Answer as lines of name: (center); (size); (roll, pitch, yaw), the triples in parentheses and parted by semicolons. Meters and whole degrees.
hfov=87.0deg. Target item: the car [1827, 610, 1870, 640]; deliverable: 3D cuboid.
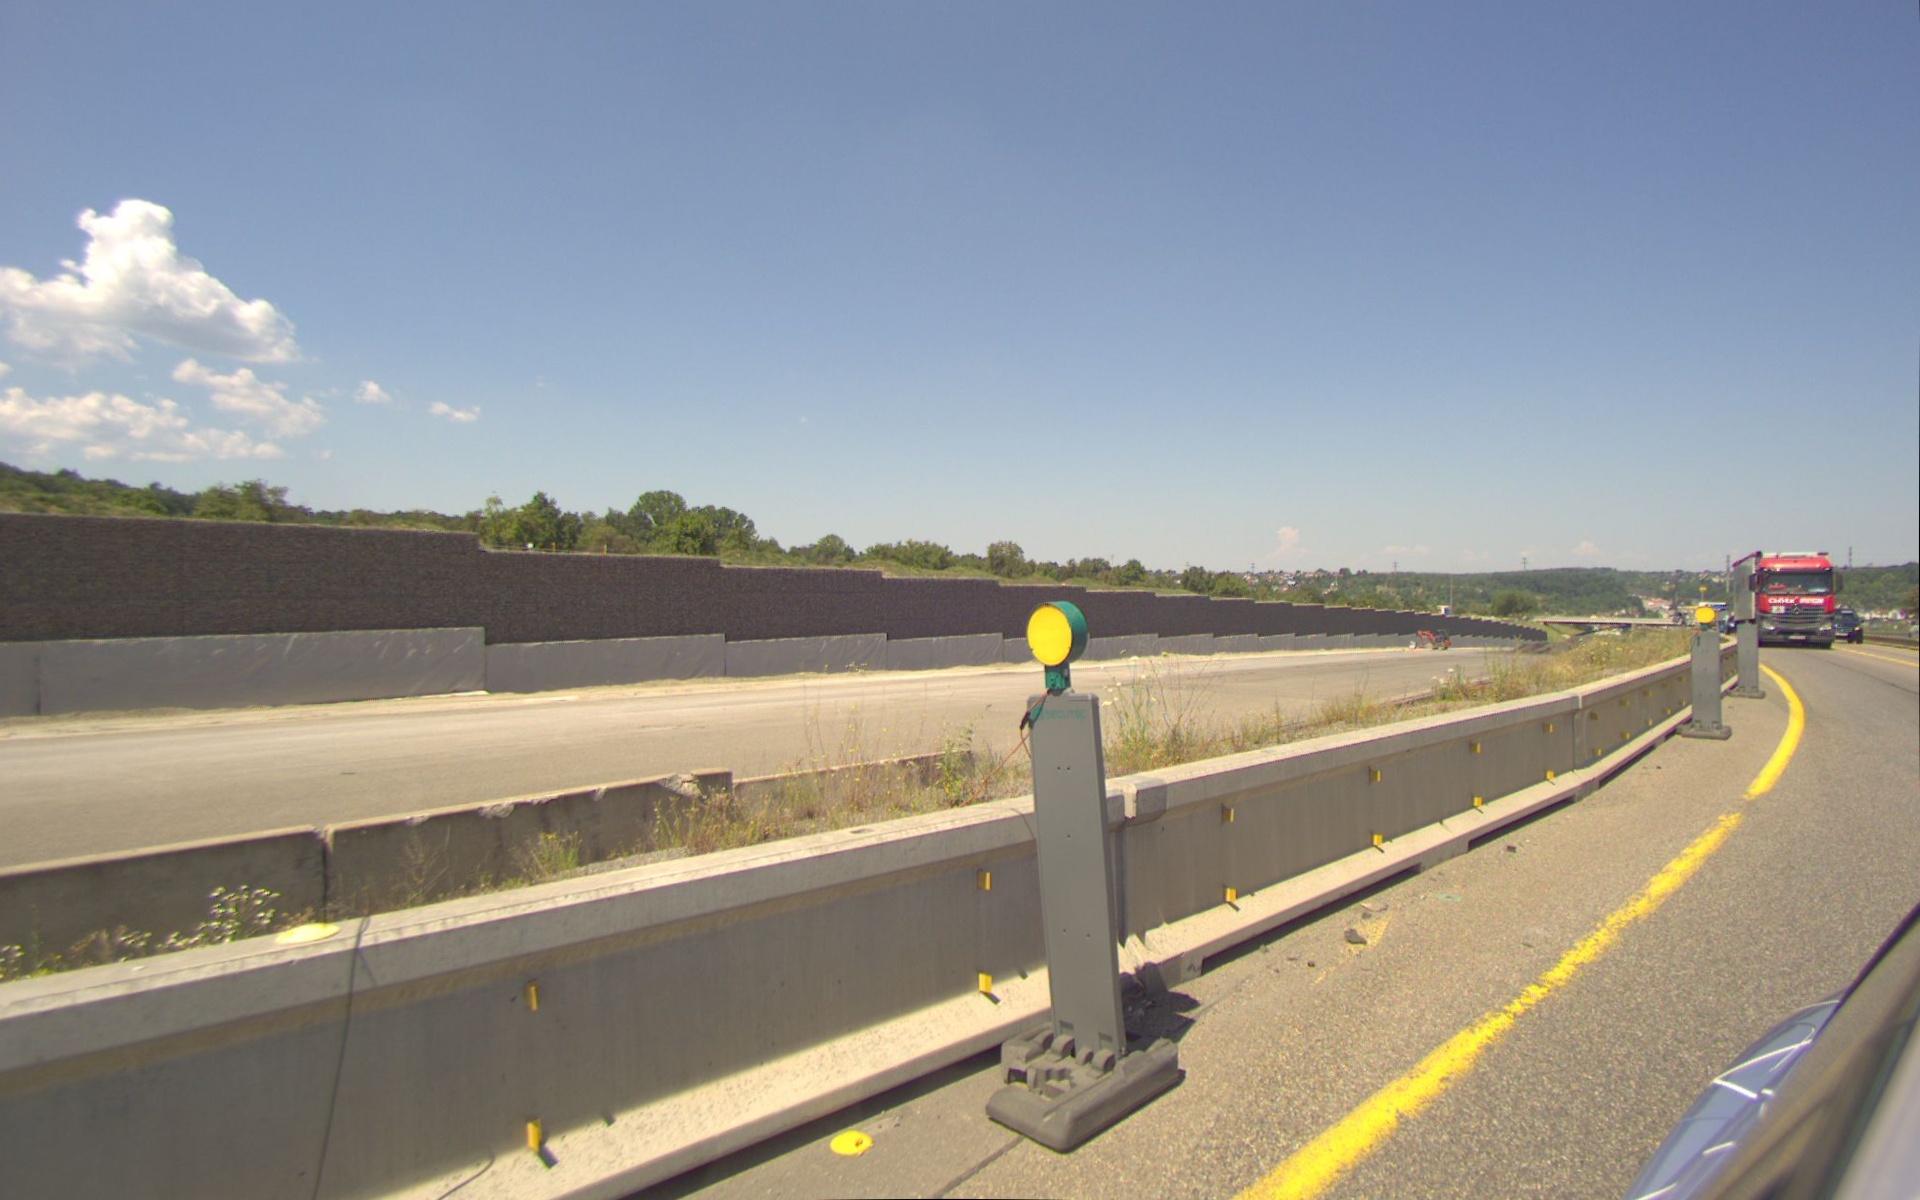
car: (47.047, 1.305, 53.619); (1.419, 1.504, 3.370); (0, 0, 36)

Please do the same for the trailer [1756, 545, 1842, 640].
trailer: (39.034, -0.323, 47.368); (2.689, 3.924, 12.252); (0, 0, 38)

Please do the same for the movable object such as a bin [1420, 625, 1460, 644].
movable object such as a bin: (57.861, 4.094, 122.065); (4.066, 2.175, 1.758); (0, 0, 10)

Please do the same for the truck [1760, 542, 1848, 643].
truck: (35.091, -0.299, 42.230); (2.615, 3.953, 4.866); (0, 0, 38)
